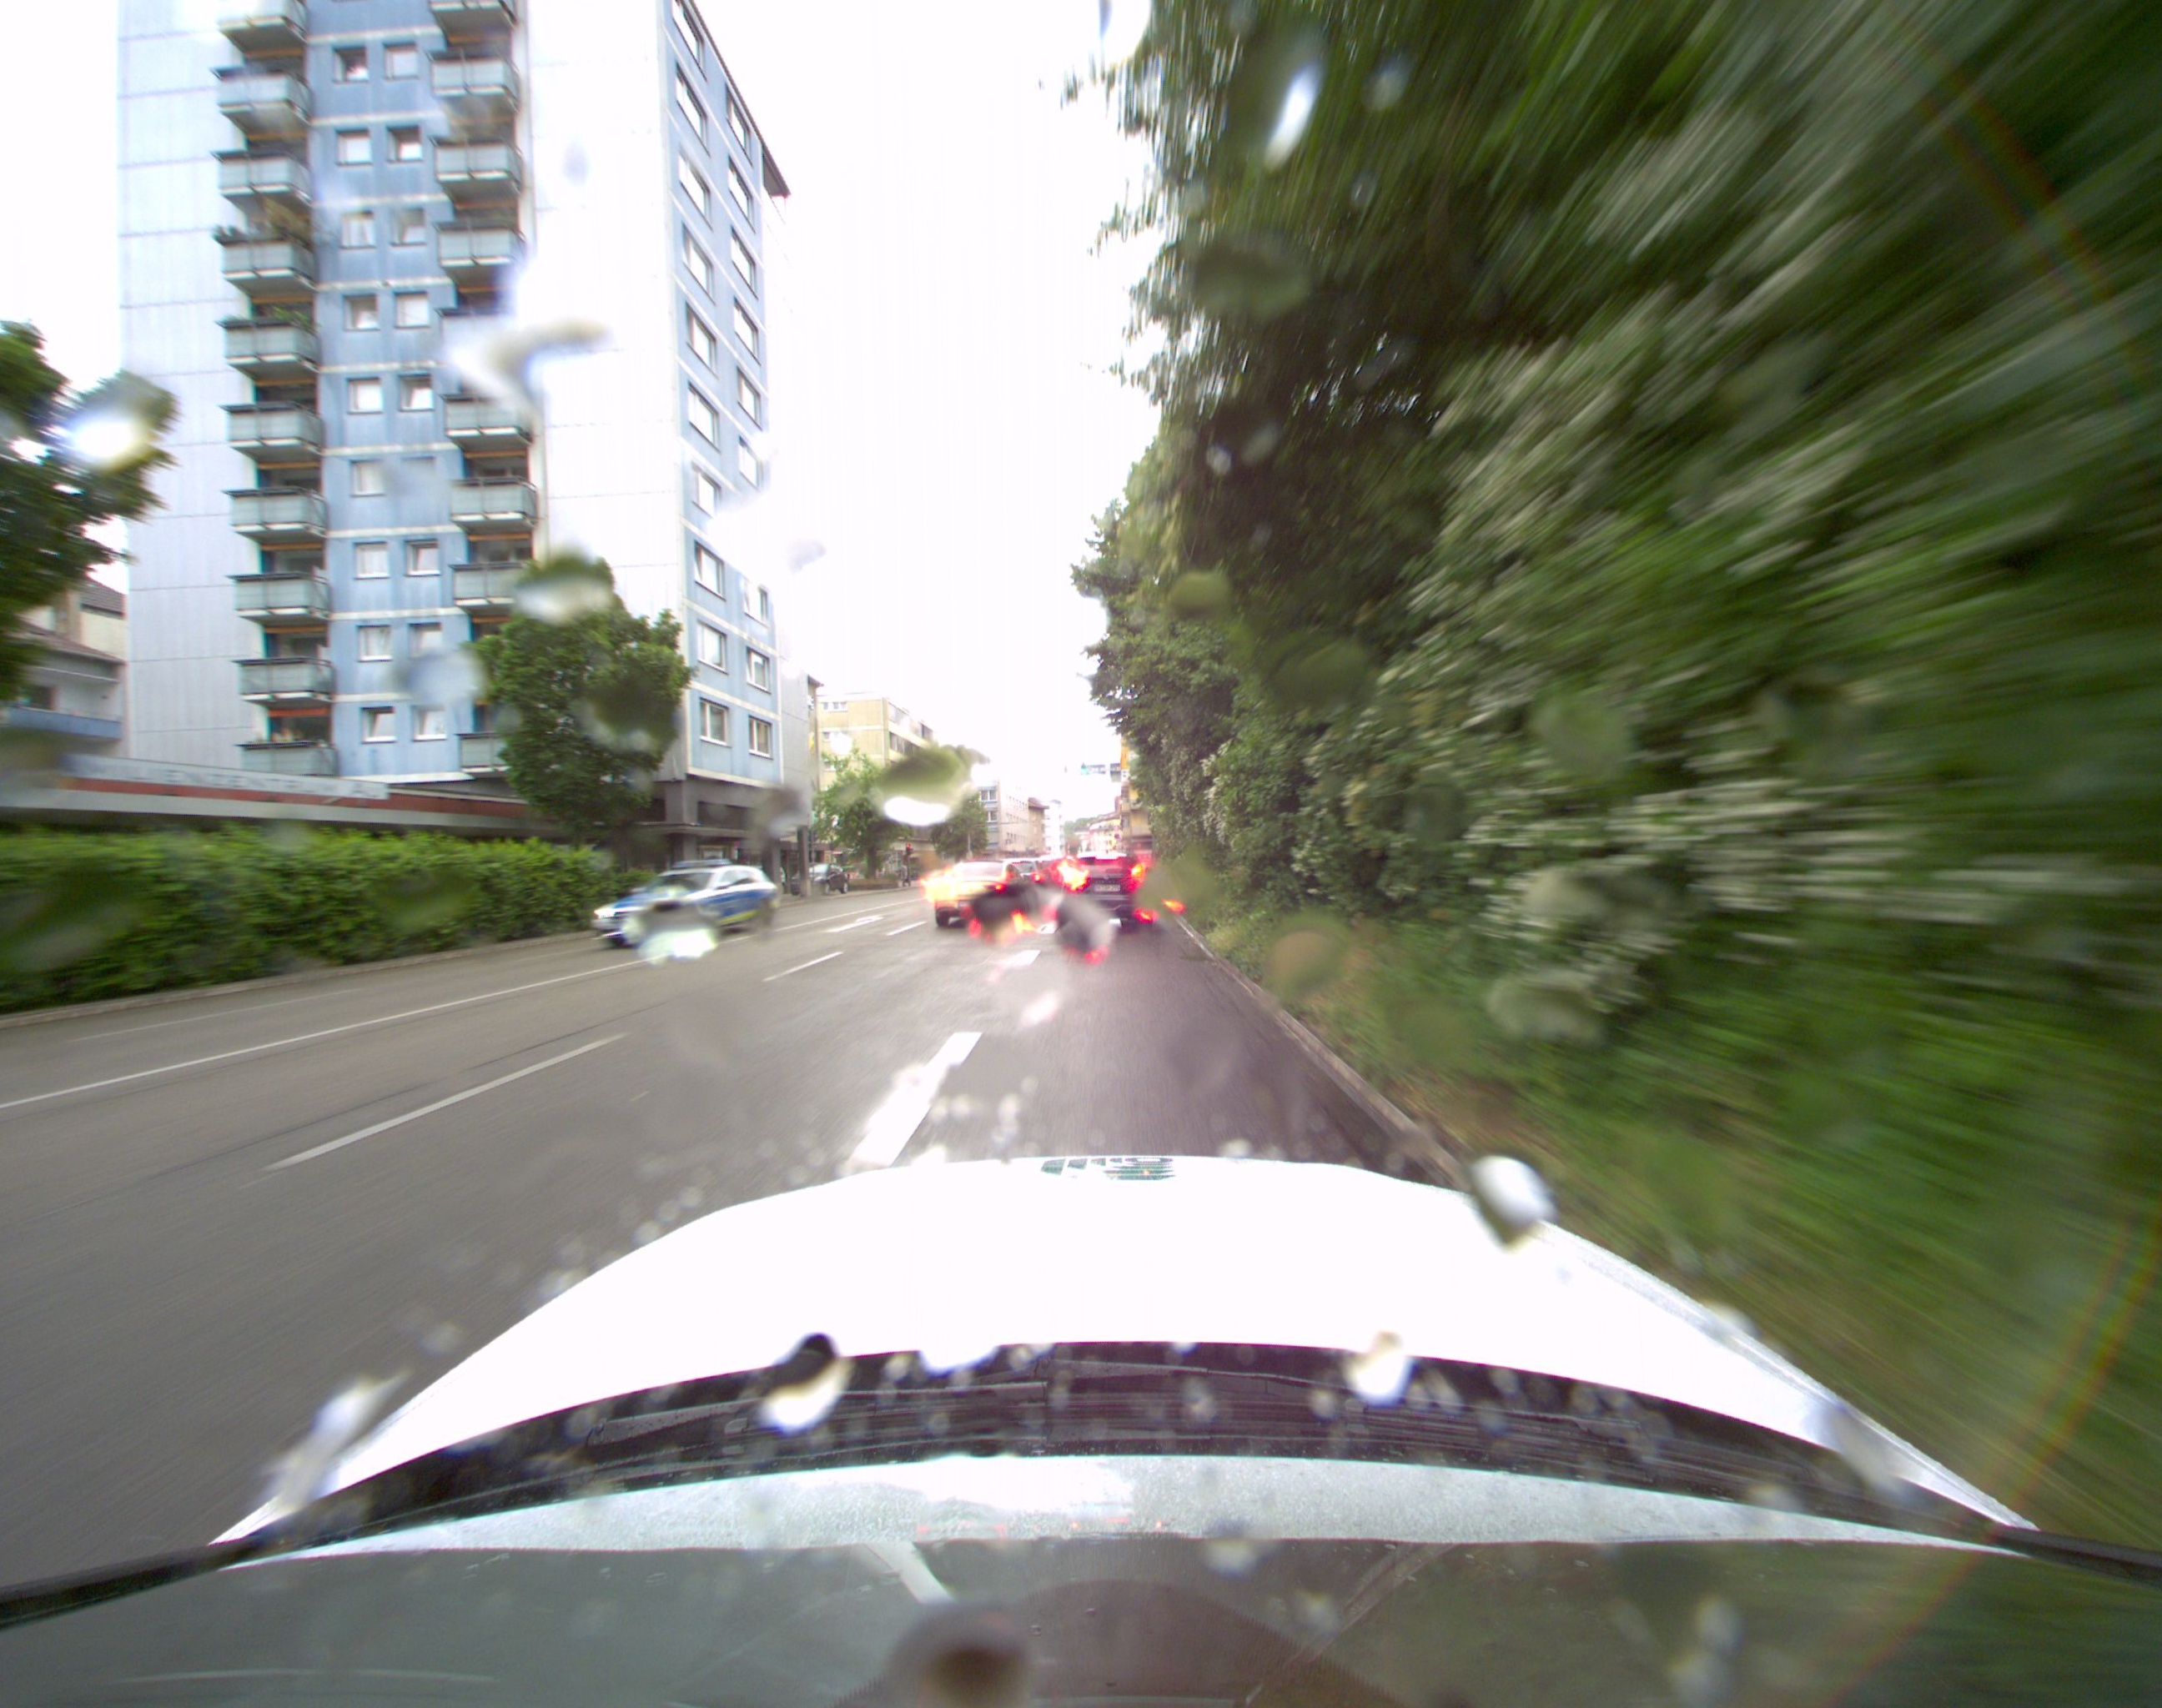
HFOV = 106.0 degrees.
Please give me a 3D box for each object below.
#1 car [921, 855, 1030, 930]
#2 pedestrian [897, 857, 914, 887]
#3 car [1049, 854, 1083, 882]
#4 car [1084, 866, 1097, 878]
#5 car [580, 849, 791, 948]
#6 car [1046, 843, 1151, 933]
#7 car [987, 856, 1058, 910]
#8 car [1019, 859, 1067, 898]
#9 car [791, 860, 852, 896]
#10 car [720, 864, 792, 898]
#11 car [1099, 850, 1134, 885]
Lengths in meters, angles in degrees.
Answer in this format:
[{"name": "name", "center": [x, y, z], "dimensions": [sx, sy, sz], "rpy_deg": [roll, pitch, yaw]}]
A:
[{"name": "car", "center": [-2.353, 0.810, 19.326], "dimensions": [2.061, 1.464, 4.583], "rpy_deg": [-2, 0, -2]}, {"name": "pedestrian", "center": [-12.210, 1.271, 56.693], "dimensions": [0.939, 2.013, 0.884], "rpy_deg": [-4, -1, -7]}, {"name": "car", "center": [-0.825, 0.772, 47.448], "dimensions": [1.760, 1.444, 4.001], "rpy_deg": [-3, 0, 1]}, {"name": "car", "center": [1.698, 3.208, 145.688], "dimensions": [1.985, 2.013, 4.004], "rpy_deg": [-4, -1, 4]}, {"name": "car", "center": [-8.268, 0.839, 17.659], "dimensions": [1.986, 1.750, 4.810], "rpy_deg": [-3, 0, 2]}, {"name": "car", "center": [0.374, 0.649, 17.465], "dimensions": [1.953, 1.653, 4.001], "rpy_deg": [-2, 0, 1]}, {"name": "car", "center": [-1.759, 0.840, 25.794], "dimensions": [1.737, 1.487, 4.163], "rpy_deg": [-3, 0, 2]}, {"name": "car", "center": [-1.497, 0.949, 33.083], "dimensions": [1.607, 1.420, 3.968], "rpy_deg": [-2, 0, 1]}, {"name": "car", "center": [-13.160, 1.184, 41.568], "dimensions": [1.533, 1.706, 4.290], "rpy_deg": [-2, 0, 3]}, {"name": "car", "center": [-17.879, 1.434, 45.010], "dimensions": [1.986, 1.655, 4.512], "rpy_deg": [-2, 0, 1]}, {"name": "car", "center": [2.205, 0.816, 50.878], "dimensions": [1.986, 2.013, 4.002], "rpy_deg": [-3, 0, 2]}]
